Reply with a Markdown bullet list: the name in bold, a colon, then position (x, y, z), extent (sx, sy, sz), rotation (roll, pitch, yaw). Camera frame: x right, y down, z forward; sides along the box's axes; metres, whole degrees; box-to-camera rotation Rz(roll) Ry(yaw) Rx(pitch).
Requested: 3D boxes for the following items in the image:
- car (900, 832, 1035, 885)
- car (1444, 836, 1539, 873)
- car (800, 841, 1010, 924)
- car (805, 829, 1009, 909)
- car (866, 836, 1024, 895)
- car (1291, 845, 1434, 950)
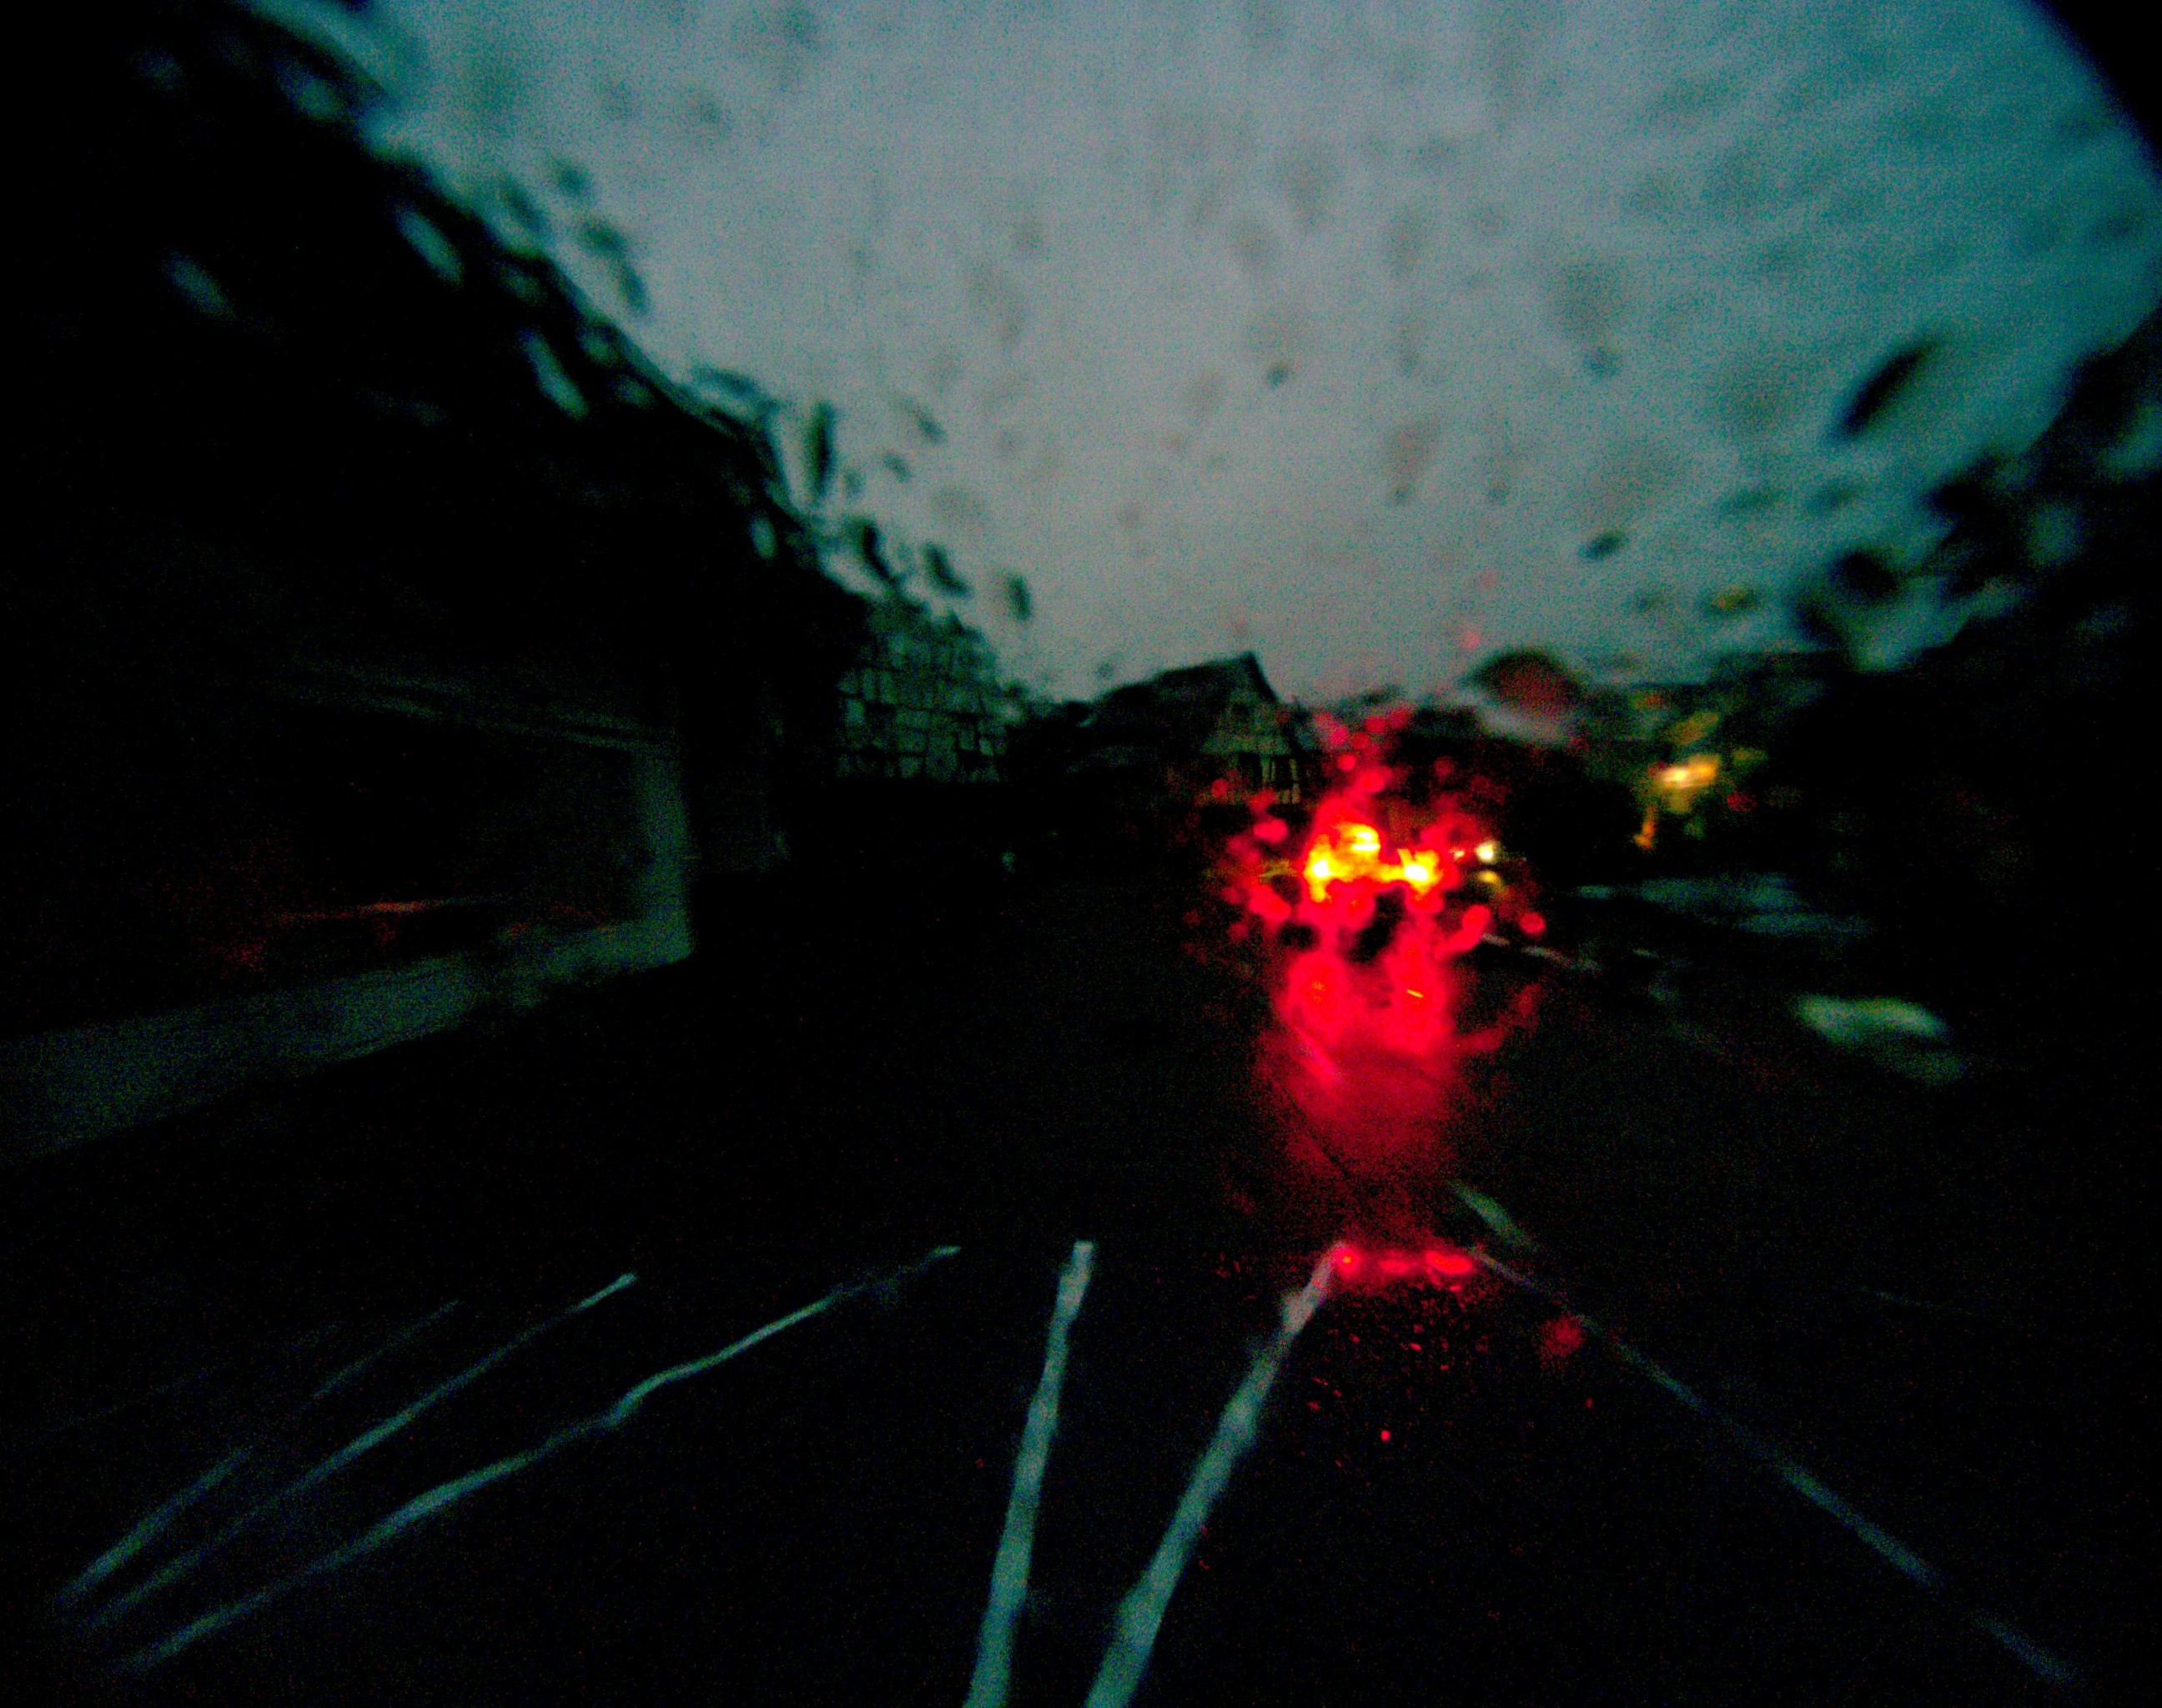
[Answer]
- **car**: position (-3.664, 0.156, 24.594), extent (3.990, 1.507, 1.593), rotation (2, 3, -26)
- **car**: position (19.408, 0.017, 35.914), extent (4.163, 1.569, 1.995), rotation (-2, 1, -29)
- **car**: position (-3.597, 0.576, 15.495), extent (3.897, 1.442, 1.884), rotation (2, 2, -19)
- **car**: position (-4.142, 0.355, 18.012), extent (4.481, 1.652, 1.851), rotation (2, 2, -20)
- **car**: position (-3.788, 0.314, 21.072), extent (4.042, 1.413, 1.811), rotation (2, 2, -19)
- **car**: position (5.113, 0.679, 14.408), extent (1.880, 1.603, 4.606), rotation (-1, 1, 12)
